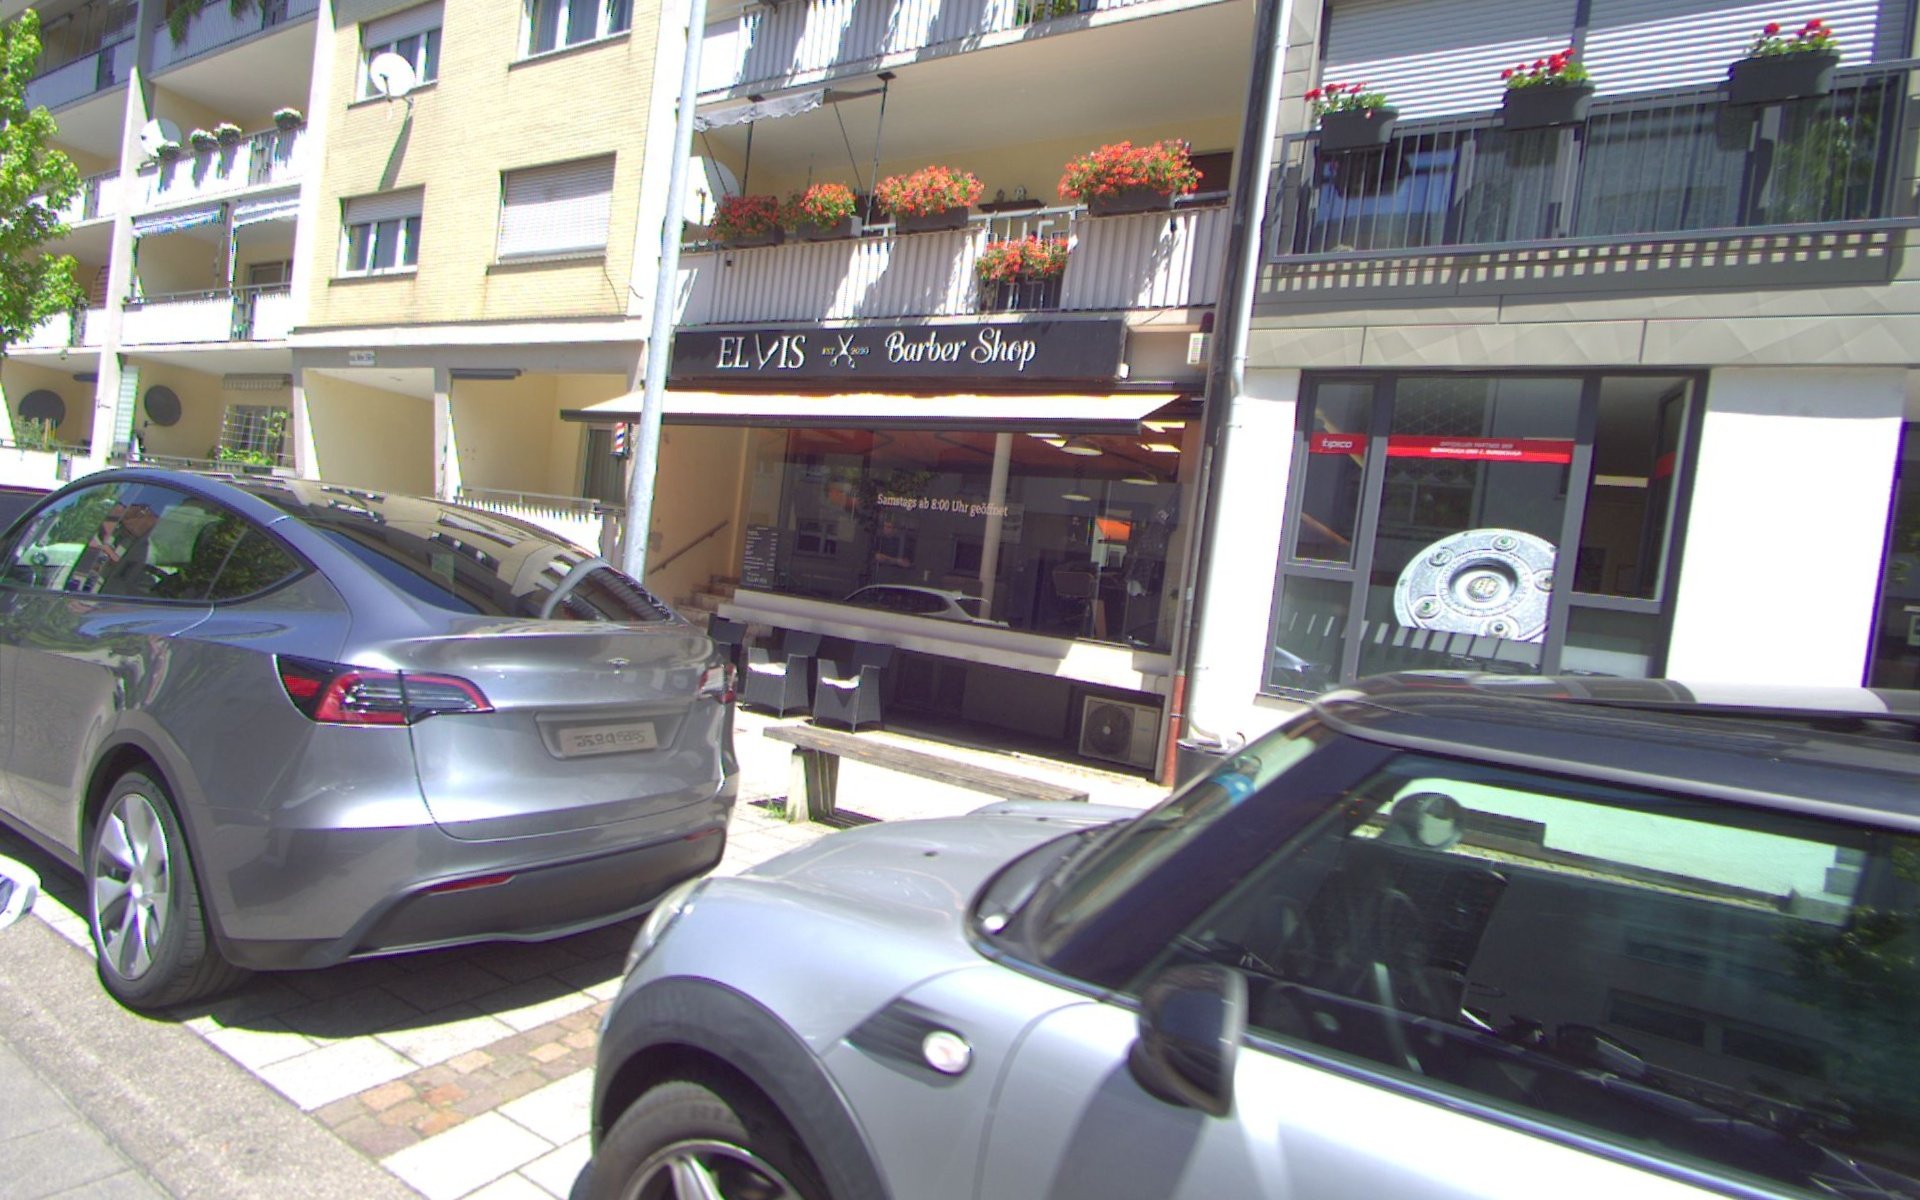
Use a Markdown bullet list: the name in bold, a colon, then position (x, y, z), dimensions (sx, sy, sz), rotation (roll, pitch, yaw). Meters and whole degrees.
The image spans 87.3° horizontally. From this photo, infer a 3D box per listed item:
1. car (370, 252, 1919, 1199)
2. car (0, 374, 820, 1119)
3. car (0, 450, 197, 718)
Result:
- **car**: position (0.978, 0.544, 1.619), dimensions (3.776, 1.578, 1.625), rotation (7, 0, 31)
- **car**: position (-3.031, 0.164, 4.286), dimensions (4.627, 1.727, 1.766), rotation (7, 1, 32)
- **car**: position (-7.428, -0.284, 7.212), dimensions (4.156, 1.603, 1.723), rotation (7, 0, 33)
